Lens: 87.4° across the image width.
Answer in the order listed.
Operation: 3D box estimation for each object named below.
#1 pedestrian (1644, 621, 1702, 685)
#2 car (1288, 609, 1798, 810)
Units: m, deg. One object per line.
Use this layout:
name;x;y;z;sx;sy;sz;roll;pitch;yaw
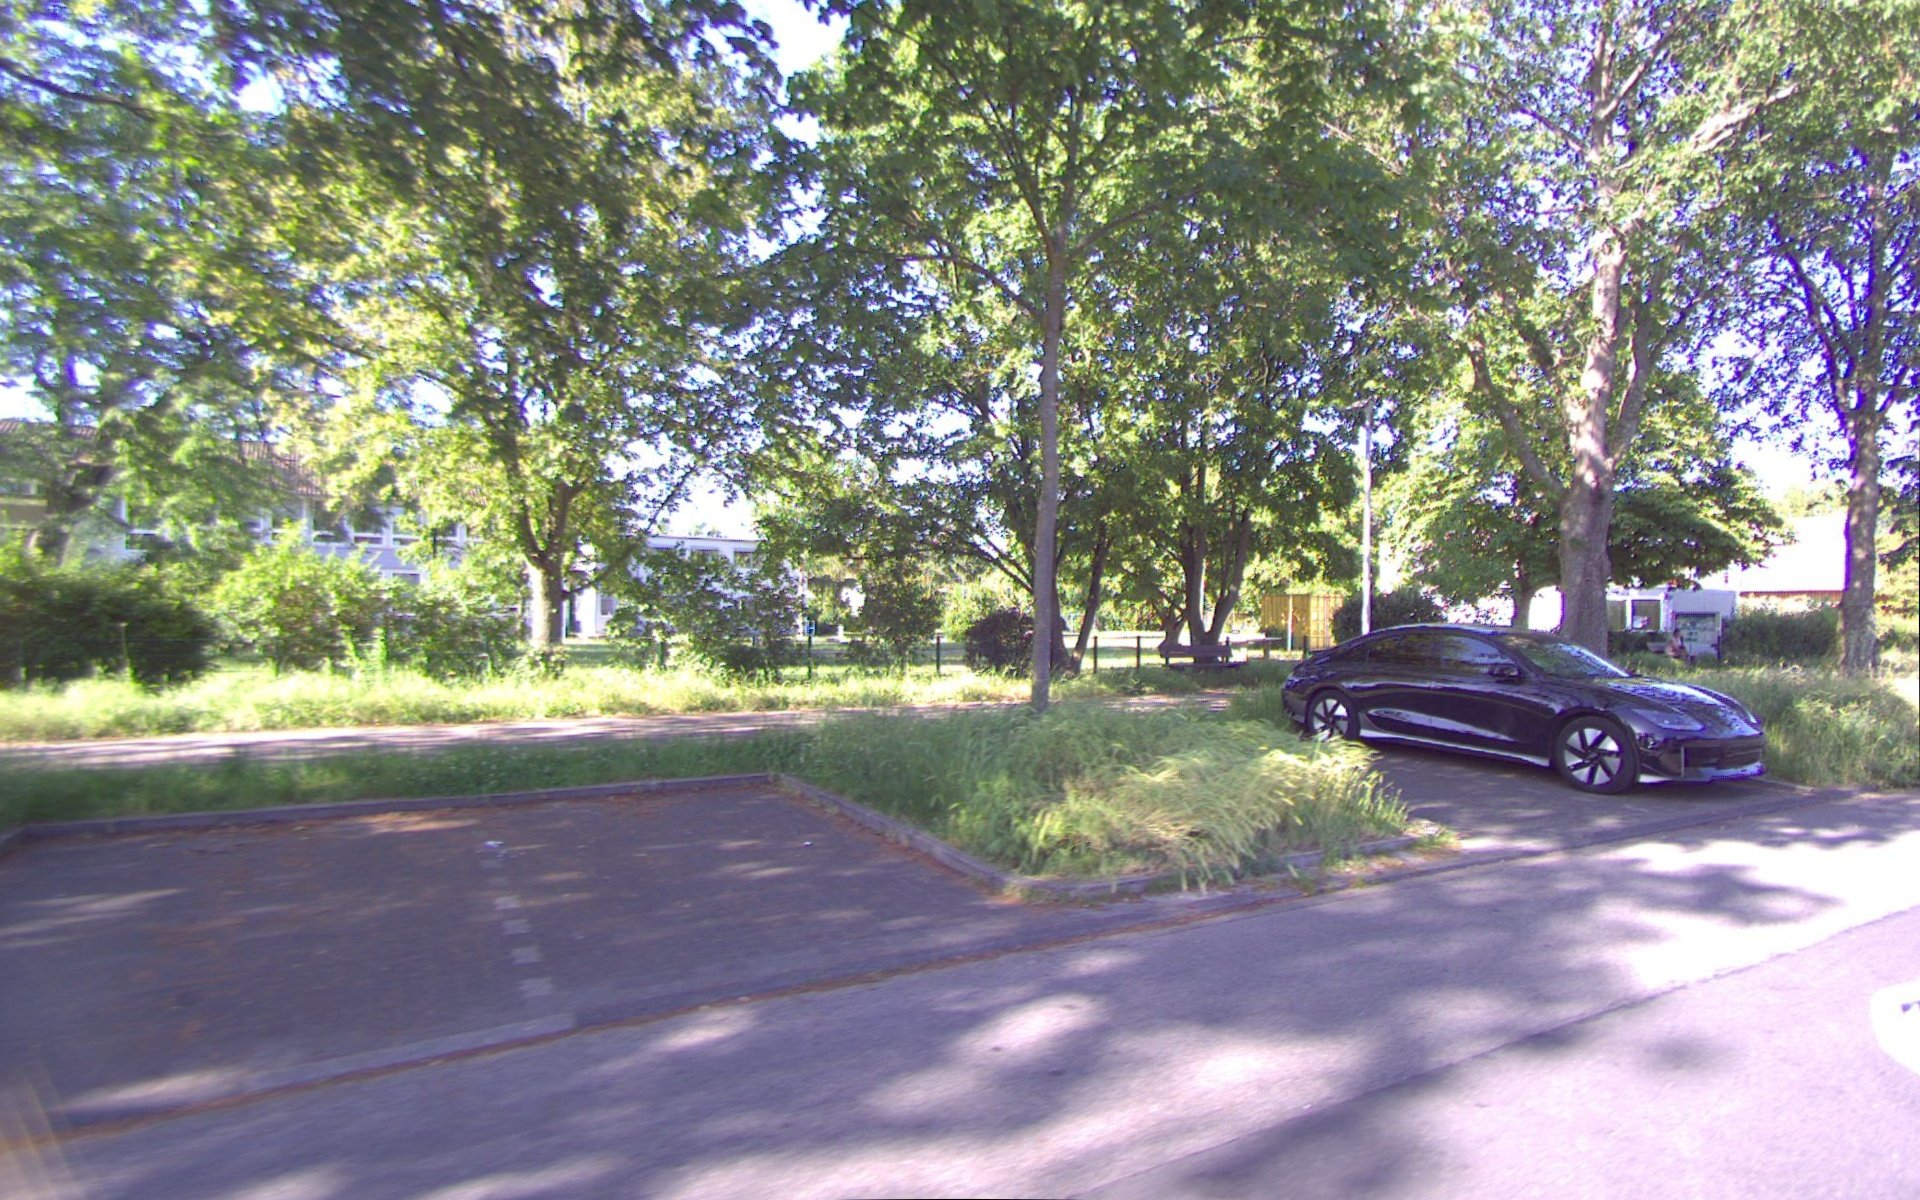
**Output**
pedestrian;21.859;1.609;30.785;1.212;1.851;1.542;2;0;43
car;5.808;0.944;10.635;1.787;1.551;4.345;1;0;-30
